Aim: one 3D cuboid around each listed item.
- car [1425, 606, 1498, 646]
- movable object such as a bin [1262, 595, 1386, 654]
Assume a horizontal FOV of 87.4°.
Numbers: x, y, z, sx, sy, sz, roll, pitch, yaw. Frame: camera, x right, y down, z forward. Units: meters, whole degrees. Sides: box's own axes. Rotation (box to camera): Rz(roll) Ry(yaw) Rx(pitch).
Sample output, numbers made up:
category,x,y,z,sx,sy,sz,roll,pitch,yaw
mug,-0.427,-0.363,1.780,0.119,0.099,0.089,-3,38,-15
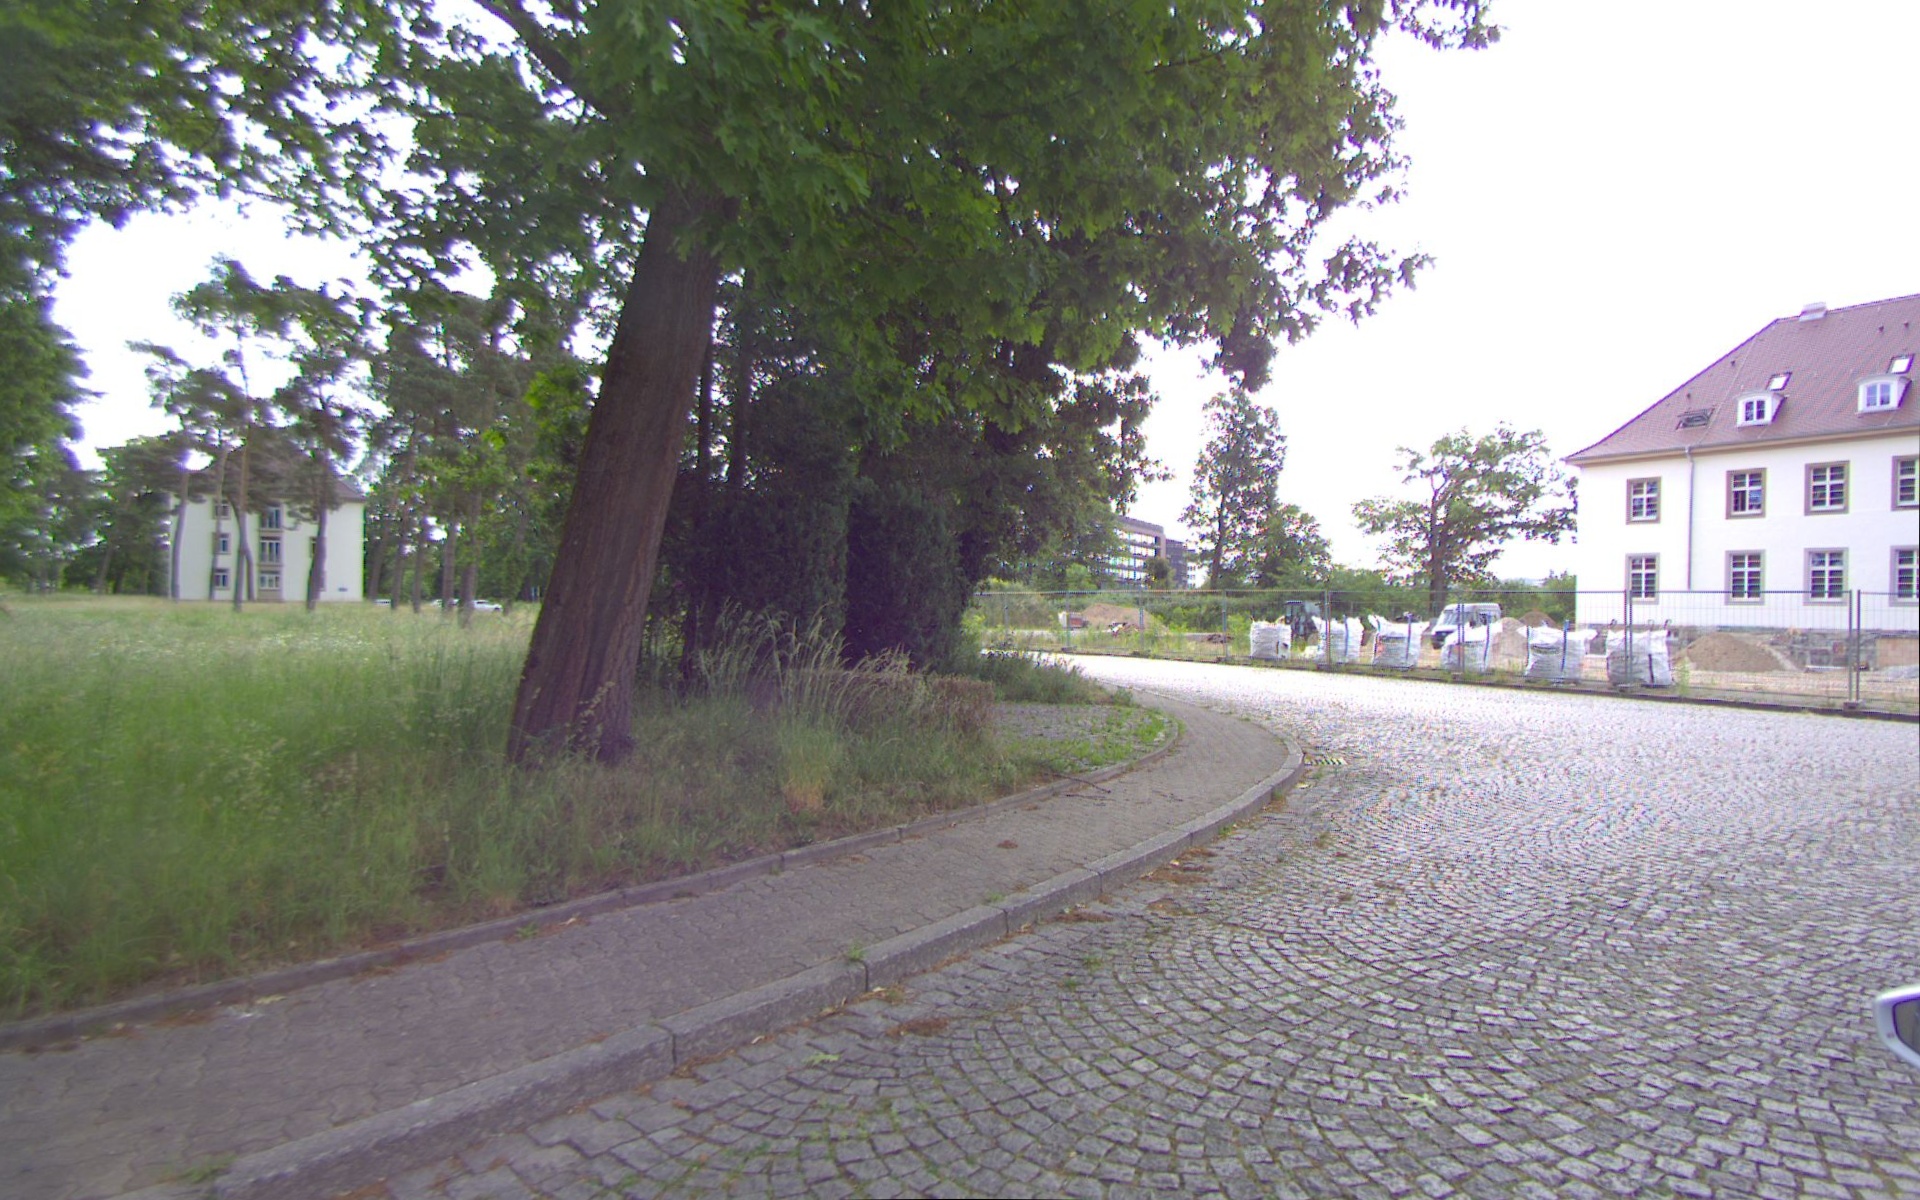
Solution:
category,x,y,z,sx,sy,sz,roll,pitch,yaw
car,28.414,1.451,56.830,4.862,2.179,2.049,1,0,-42
movable object such as a bin,17.019,1.091,47.282,1.981,2.590,5.293,1,0,-36
